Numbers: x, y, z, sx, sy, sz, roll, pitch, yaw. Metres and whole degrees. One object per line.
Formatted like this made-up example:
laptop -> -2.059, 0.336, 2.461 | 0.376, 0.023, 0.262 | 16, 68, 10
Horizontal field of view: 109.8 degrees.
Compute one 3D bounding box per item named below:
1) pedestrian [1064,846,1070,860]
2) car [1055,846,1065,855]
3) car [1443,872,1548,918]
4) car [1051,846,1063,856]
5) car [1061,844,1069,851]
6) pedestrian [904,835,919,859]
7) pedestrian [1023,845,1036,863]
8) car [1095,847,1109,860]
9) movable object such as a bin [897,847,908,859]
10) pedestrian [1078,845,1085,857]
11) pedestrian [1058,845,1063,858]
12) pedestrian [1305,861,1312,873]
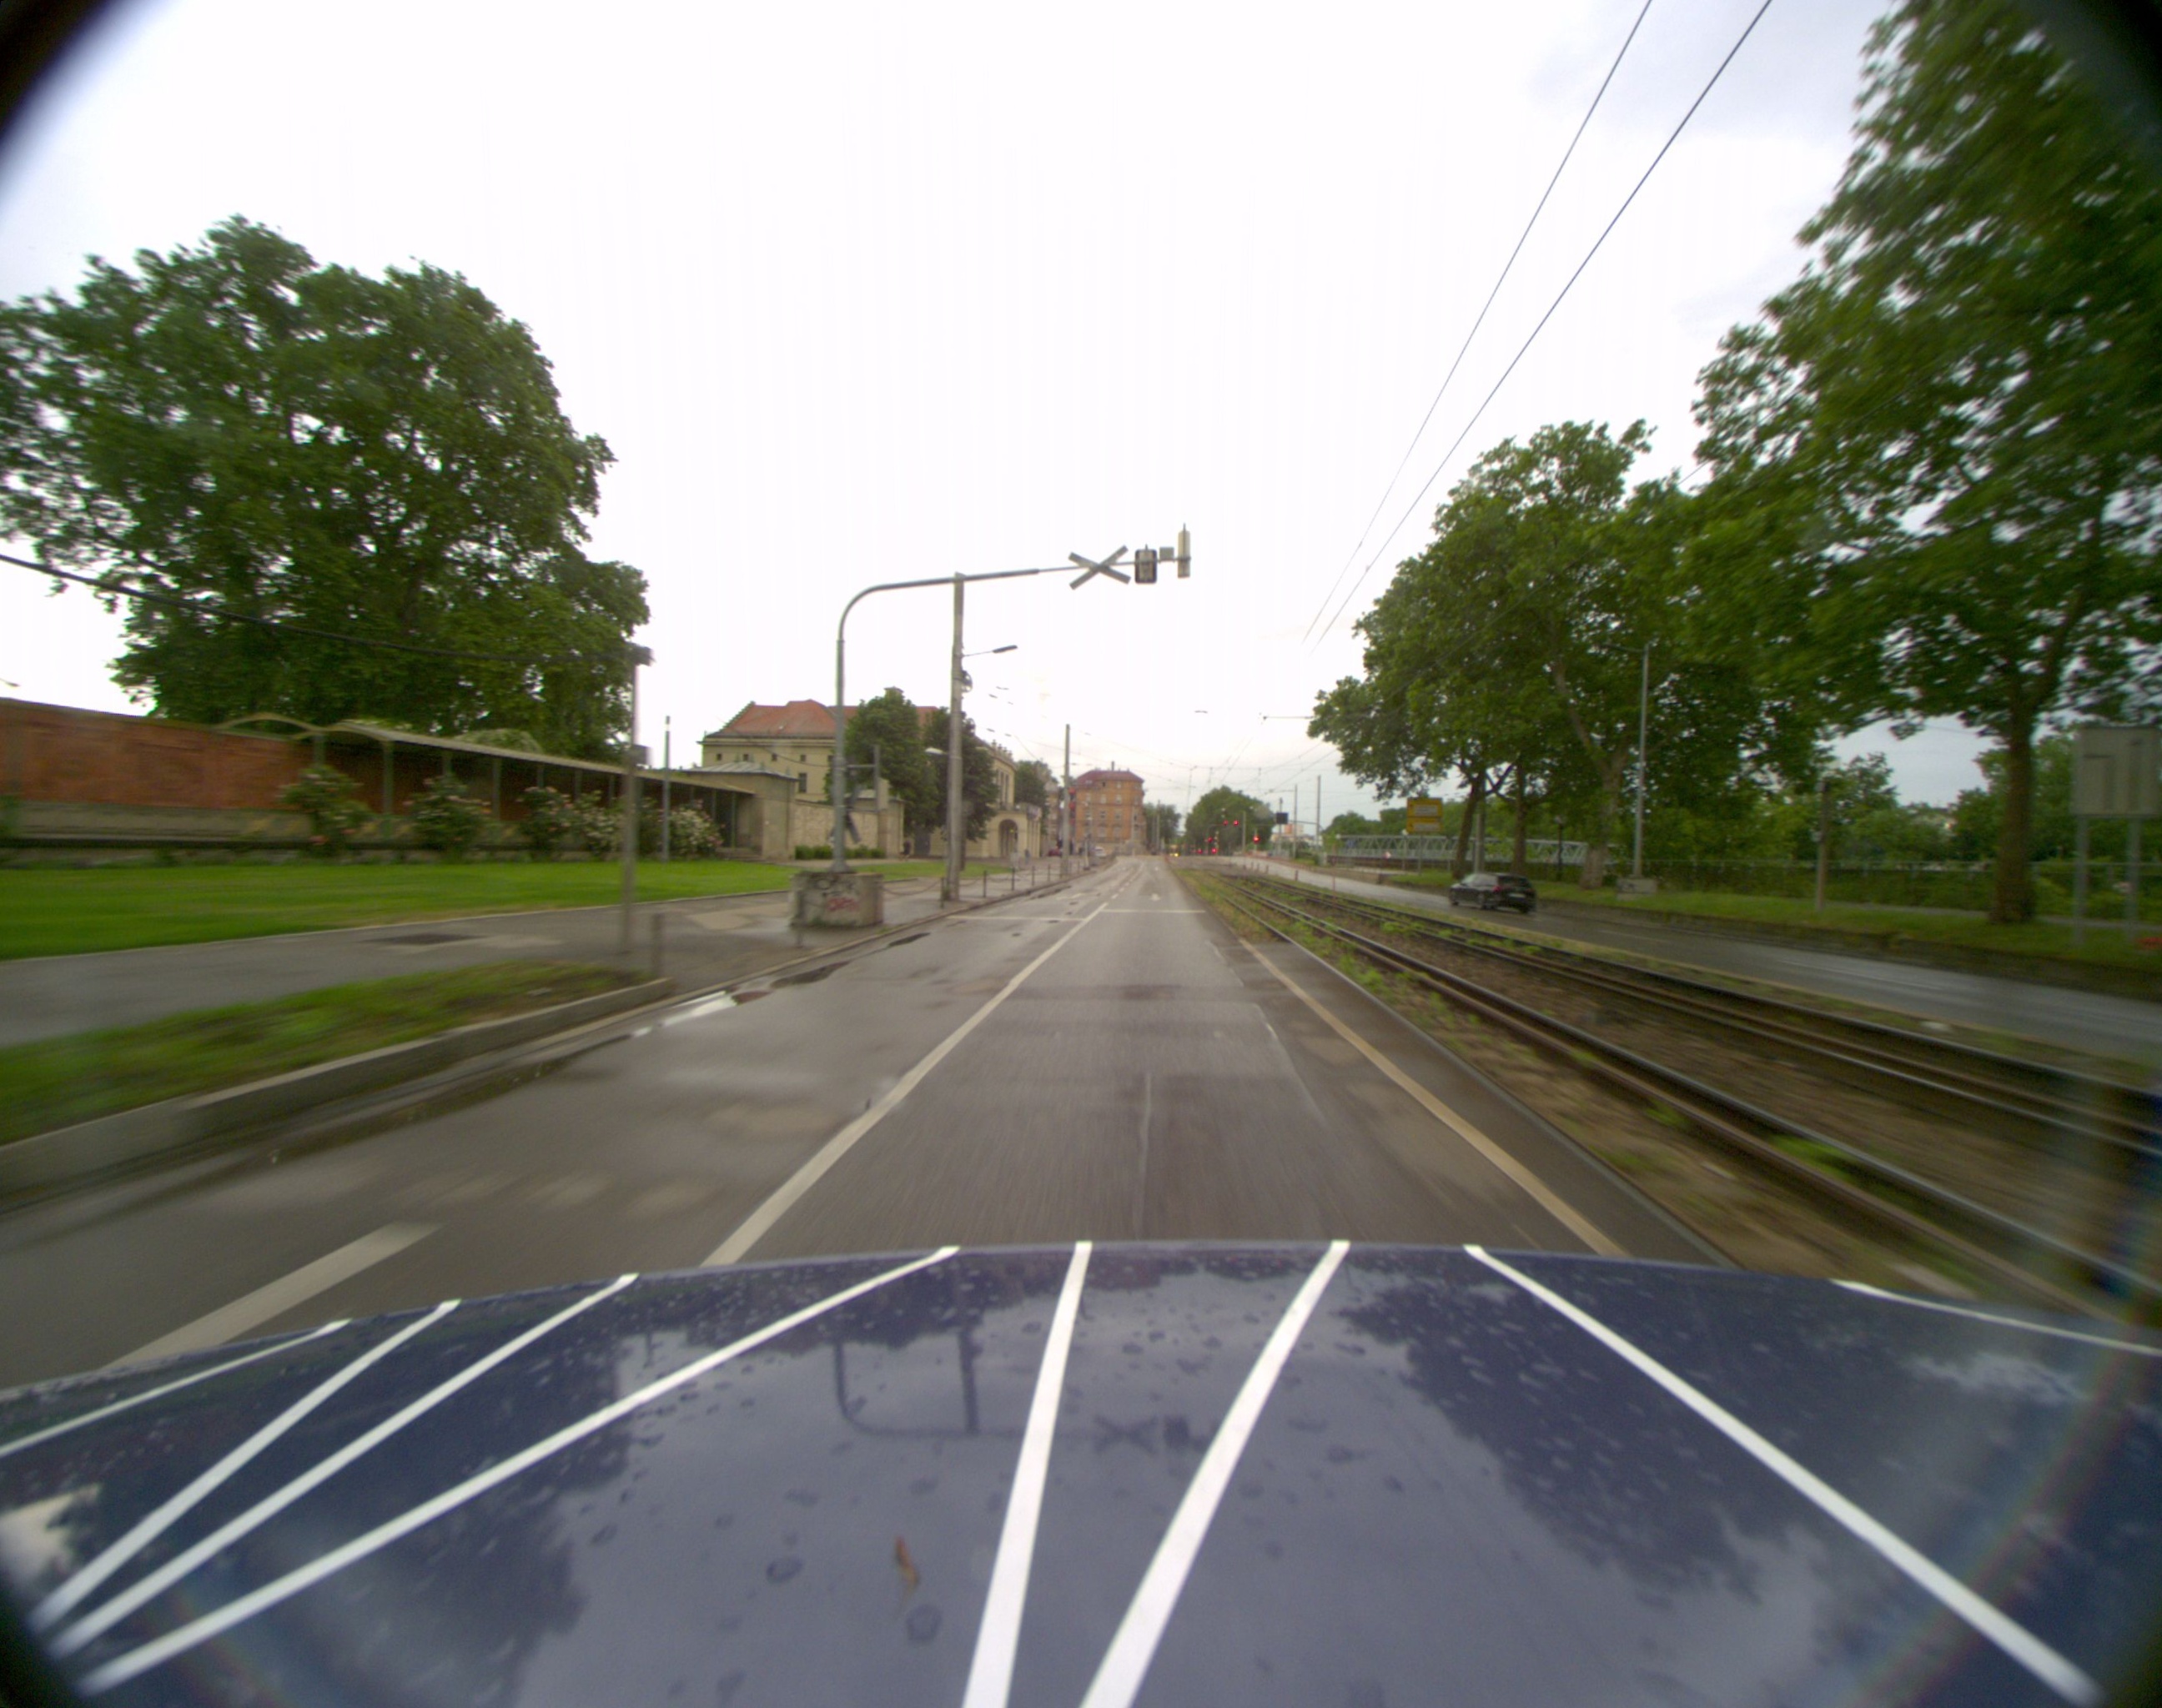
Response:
pedestrian -> -1.742, -0.182, 96.436 | 0.595, 1.726, 0.839 | 2, 1, 3
car -> -3.821, -0.665, 138.957 | 1.830, 1.573, 3.999 | 2, 1, 0
car -> 15.750, 1.492, 29.160 | 1.750, 1.421, 4.562 | 3, 0, 5
car -> -3.994, -0.517, 127.901 | 1.830, 1.573, 3.999 | 2, 1, 0
car -> -3.742, -1.603, 179.895 | 1.830, 1.573, 3.999 | 2, 1, 0
pedestrian -> -12.444, -0.519, 55.770 | 0.730, 1.701, 0.982 | 2, 1, 7
pedestrian -> -4.552, -0.005, 67.570 | 0.863, 1.581, 0.670 | 4, 1, 32
car -> 2.980, -0.089, 108.691 | 1.843, 1.630, 4.142 | -1, 1, 1
movable object such as a bin -> -13.074, -0.081, 55.752 | 0.343, 0.867, 1.192 | 2, 1, 7
pedestrian -> 0.029, -0.415, 112.318 | 0.783, 1.797, 0.696 | -1, 2, -35
pedestrian -> -2.582, -0.364, 96.517 | 0.628, 1.635, 0.780 | 2, 1, -1
pedestrian -> 31.067, 1.793, 103.587 | 0.766, 1.678, 0.619 | 2, 1, 5
